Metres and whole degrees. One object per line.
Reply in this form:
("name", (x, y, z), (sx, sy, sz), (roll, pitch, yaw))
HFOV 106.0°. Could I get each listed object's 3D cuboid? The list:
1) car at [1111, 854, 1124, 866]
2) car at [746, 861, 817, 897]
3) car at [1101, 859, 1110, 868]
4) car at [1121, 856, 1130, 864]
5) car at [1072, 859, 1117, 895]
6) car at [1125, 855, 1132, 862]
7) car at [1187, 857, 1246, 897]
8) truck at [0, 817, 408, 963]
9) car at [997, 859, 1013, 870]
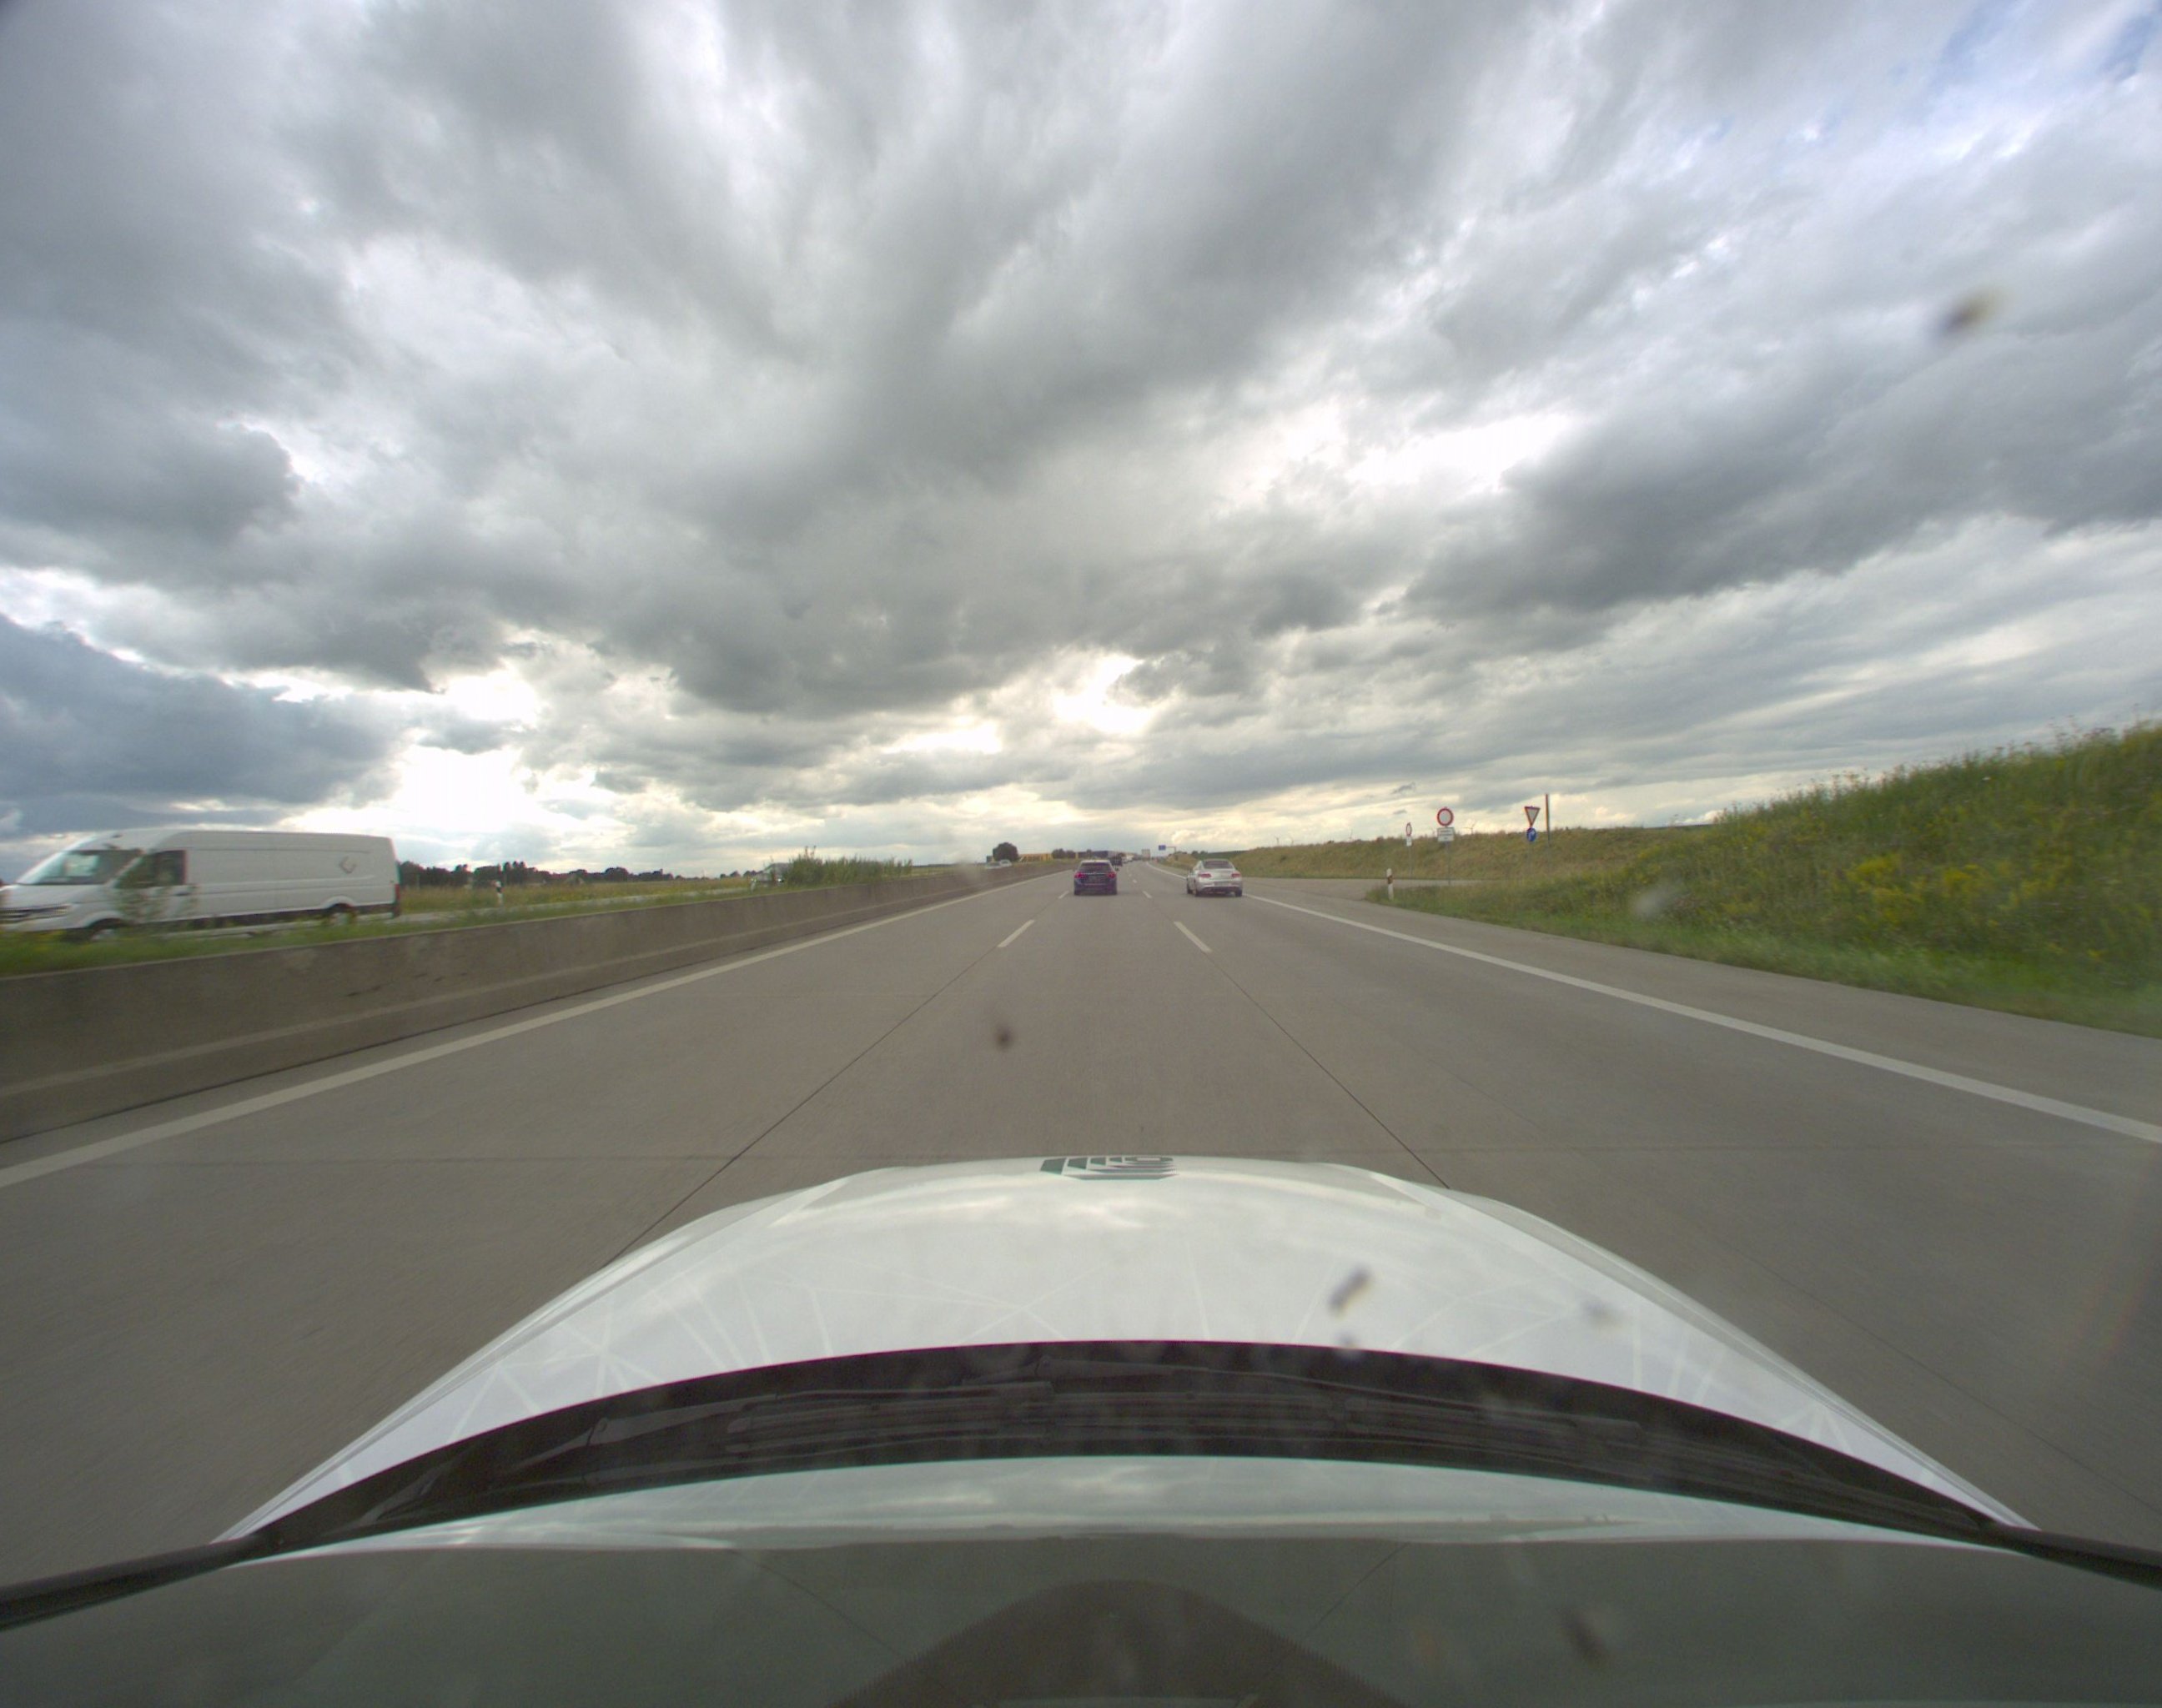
("car", (6.202, 1.092, 138.114), (1.988, 2.014, 3.997), (0, -1, -2))
("car", (-14.176, 1.160, 38.766), (1.650, 1.567, 4.225), (-1, 0, 2))
("car", (6.002, 2.275, 197.526), (2.038, 2.014, 4.001), (0, -1, 2))
("car", (10.567, 1.438, 193.077), (1.985, 2.014, 4.004), (0, 0, 4))
("car", (0.572, 0.950, 34.426), (1.768, 1.413, 4.000), (-1, -1, 1))
("car", (14.075, 1.385, 242.220), (1.985, 2.014, 4.002), (0, -1, 3))
("car", (5.226, 0.867, 31.888), (1.781, 1.403, 4.223), (-1, -1, 2))
("truck", (-19.153, 0.704, 18.014), (2.136, 2.567, 7.450), (0, -1, 2))
("car", (-11.111, 1.570, 119.528), (1.771, 1.507, 4.519), (0, -1, 2))
